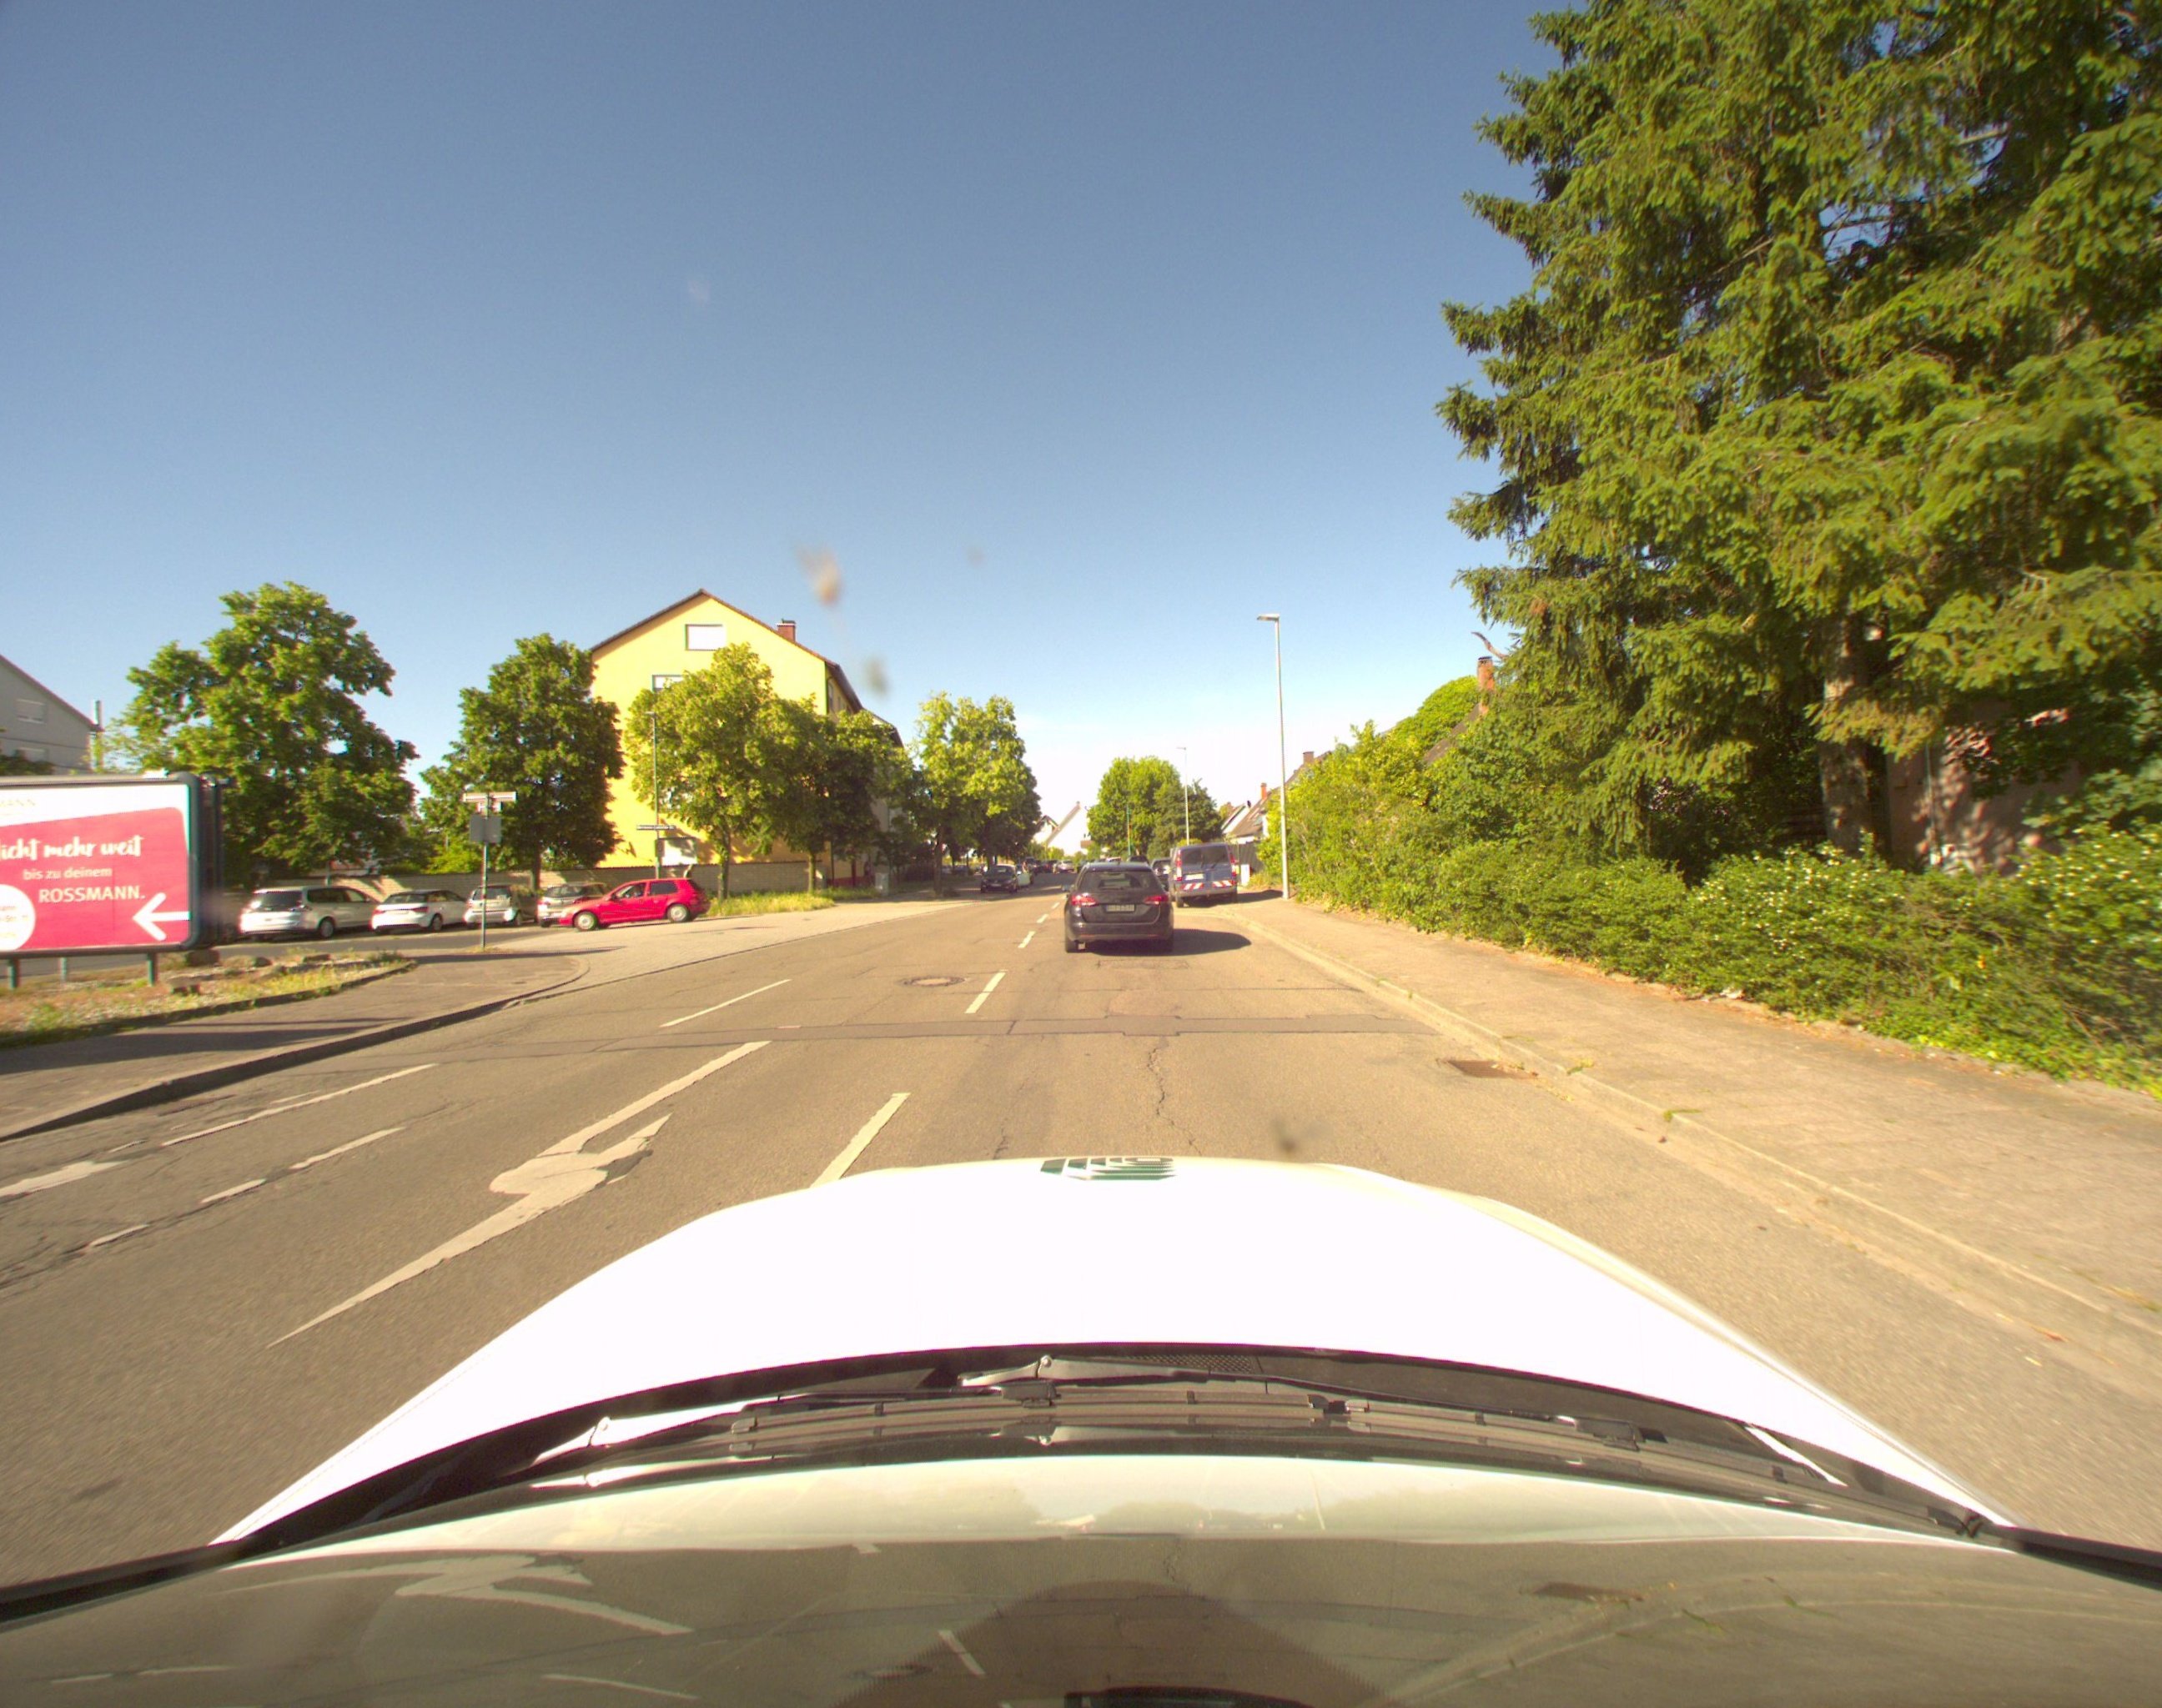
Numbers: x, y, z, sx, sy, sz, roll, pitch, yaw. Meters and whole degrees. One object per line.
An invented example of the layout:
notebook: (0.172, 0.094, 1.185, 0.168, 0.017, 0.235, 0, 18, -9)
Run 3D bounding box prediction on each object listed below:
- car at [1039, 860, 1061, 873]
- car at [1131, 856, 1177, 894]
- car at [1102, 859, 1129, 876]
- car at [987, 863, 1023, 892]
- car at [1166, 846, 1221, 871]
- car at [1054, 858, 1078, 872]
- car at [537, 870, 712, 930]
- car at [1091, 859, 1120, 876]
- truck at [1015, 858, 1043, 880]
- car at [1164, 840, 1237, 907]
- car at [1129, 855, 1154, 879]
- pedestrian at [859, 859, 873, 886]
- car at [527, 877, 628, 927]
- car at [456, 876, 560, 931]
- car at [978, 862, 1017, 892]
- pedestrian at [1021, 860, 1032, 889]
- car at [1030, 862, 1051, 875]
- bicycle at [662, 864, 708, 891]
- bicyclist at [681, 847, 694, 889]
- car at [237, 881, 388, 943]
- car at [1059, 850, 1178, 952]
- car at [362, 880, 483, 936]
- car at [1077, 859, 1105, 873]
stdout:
car: (-3.938, 1.624, 103.926, 1.823, 1.534, 4.237, -3, -1, -15)
car: (3.264, 0.902, 37.294, 1.758, 1.480, 4.994, -4, 0, 2)
car: (3.338, 1.346, 79.854, 1.760, 1.480, 4.281, -3, -1, -8)
car: (-4.482, 1.400, 48.610, 1.695, 1.523, 4.051, -4, -2, 0)
car: (10.158, 0.404, 73.849, 4.663, 1.984, 2.144, -3, -1, 1)
car: (-1.838, 1.301, 98.965, 1.823, 1.534, 4.237, -3, -1, -15)
car: (-14.014, 1.356, 25.315, 4.390, 1.568, 2.006, -2, 0, -18)
car: (2.517, 1.420, 84.498, 1.913, 1.600, 4.276, -3, -1, -12)
truck: (-6.008, 1.743, 94.831, 2.119, 2.334, 6.451, -4, -1, 5)
car: (3.769, 0.593, 26.460, 1.829, 1.907, 4.700, -2, 0, 2)
car: (4.725, 1.051, 64.121, 1.771, 1.724, 4.296, -3, -1, 2)
pedestrian: (-14.011, 1.221, 53.070, 0.683, 1.718, 0.720, -3, -3, 1)
car: (-17.694, 1.643, 28.822, 1.730, 1.464, 3.866, -3, 0, -11)
car: (-20.501, 1.721, 29.334, 1.700, 1.621, 3.863, -3, 1, -14)
car: (-4.372, 1.232, 43.041, 1.696, 1.480, 4.049, -1, -2, -1)
pedestrian: (-3.293, 1.242, 49.083, 0.503, 1.761, 0.694, -3, -3, -2)
car: (-5.485, 1.981, 109.665, 1.823, 1.534, 4.237, -3, -1, -15)
bicycle: (-16.092, 0.935, 33.107, 1.627, 1.011, 0.402, -2, -1, -30)
bicyclist: (-16.021, 0.561, 33.166, 0.391, 1.686, 0.378, -2, -3, -30)
car: (-25.310, 1.842, 27.015, 1.698, 1.679, 3.868, -3, 0, -10)
car: (0.636, 0.740, 14.474, 1.755, 1.491, 4.292, -2, -1, 2)
car: (-22.617, 1.792, 28.167, 1.700, 1.463, 3.863, -3, 2, -14)
car: (1.097, 1.339, 90.207, 2.009, 1.475, 4.273, -3, -1, -14)
